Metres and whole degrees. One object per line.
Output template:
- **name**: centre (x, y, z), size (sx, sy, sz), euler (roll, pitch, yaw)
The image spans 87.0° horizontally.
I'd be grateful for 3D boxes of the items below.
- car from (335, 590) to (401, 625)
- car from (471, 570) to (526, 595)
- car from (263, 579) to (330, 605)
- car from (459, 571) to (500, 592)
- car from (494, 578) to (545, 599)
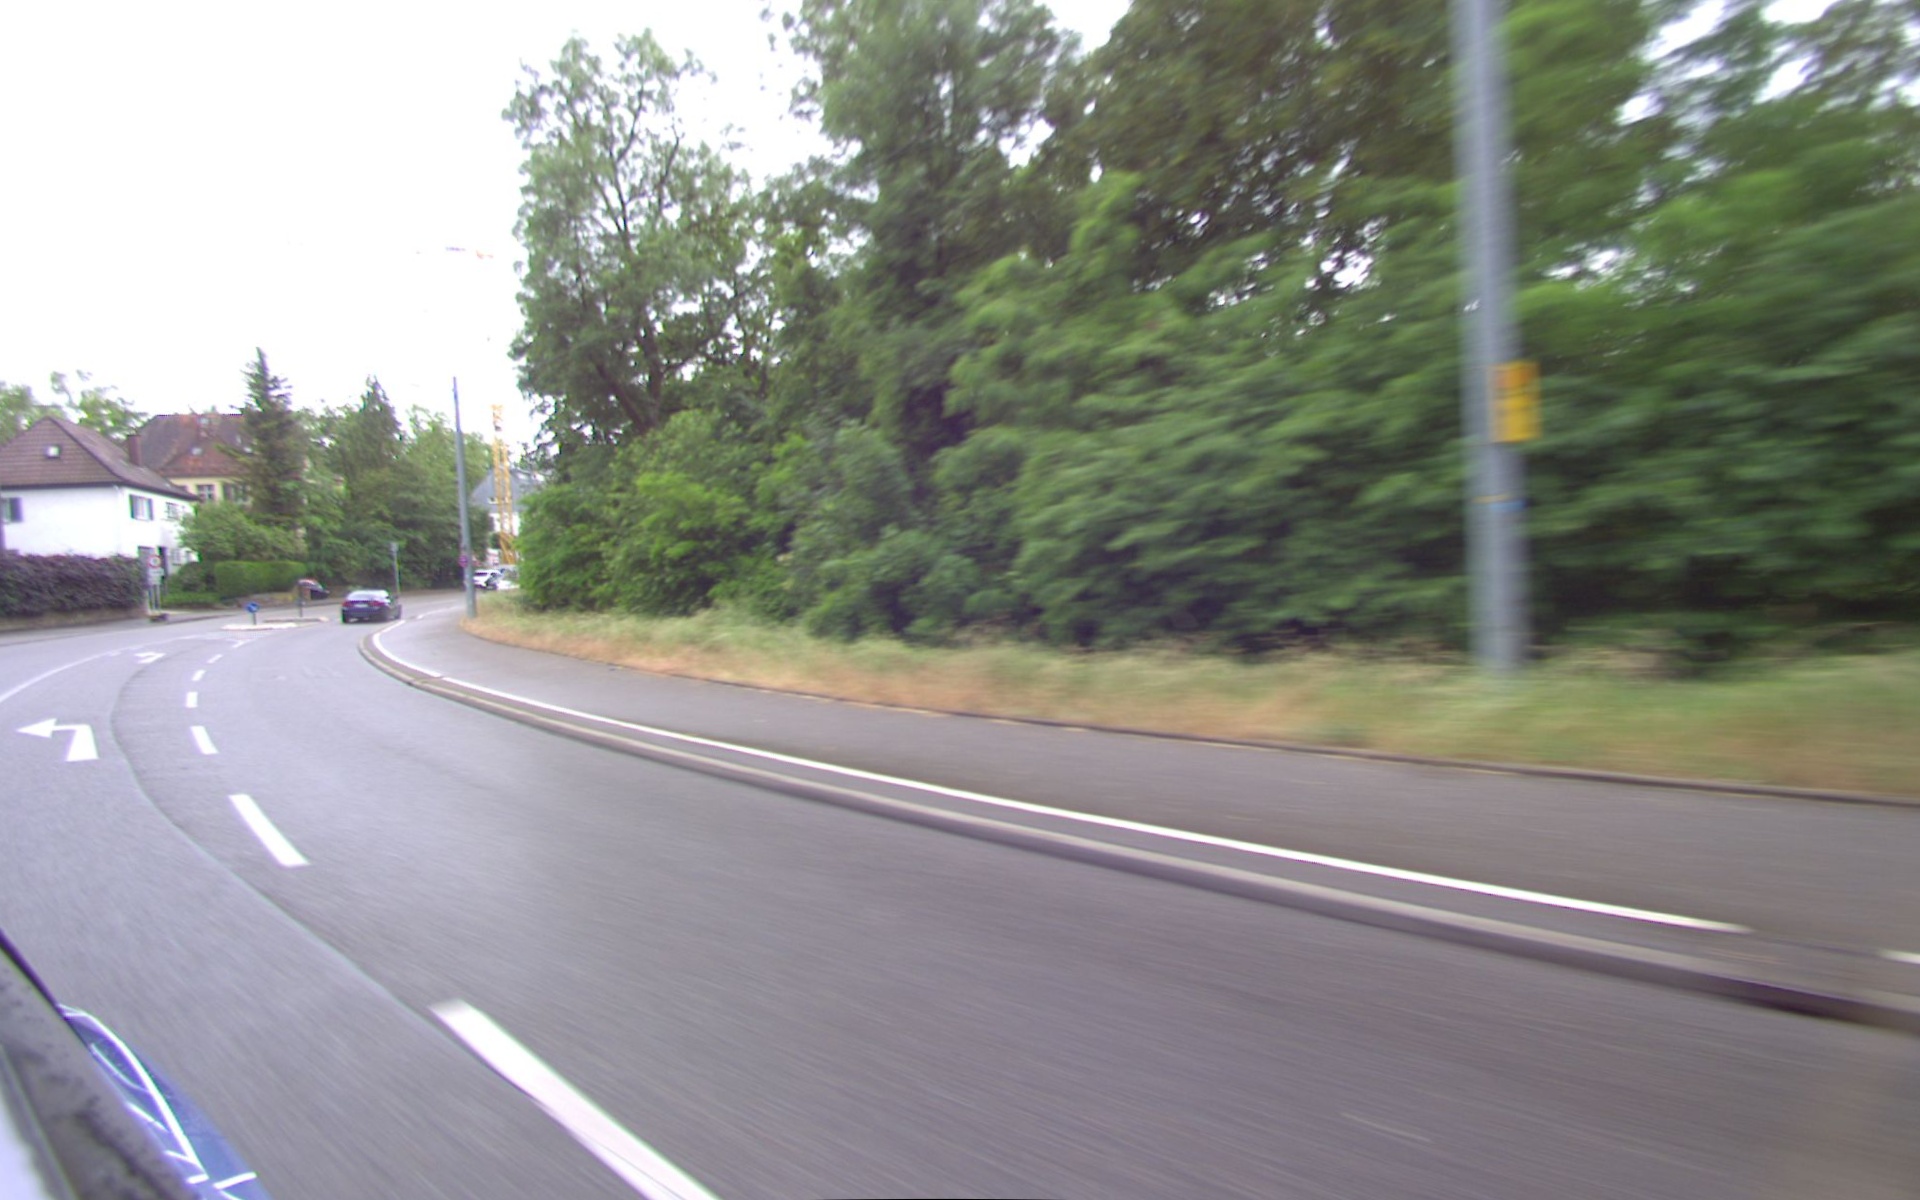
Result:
- **car**: centre (-27.649, 0.322, 47.387), size (1.820, 1.512, 4.646), euler (0, 1, -19)
- **car**: centre (-36.758, -1.455, 80.724), size (1.978, 1.729, 3.988), euler (-2, 3, 11)
- **car**: centre (-45.293, -0.565, 69.170), size (3.432, 1.422, 1.431), euler (-5, 3, -10)
- **car**: centre (-40.078, -1.524, 84.515), size (1.805, 1.607, 4.005), euler (0, 3, -4)
- **car**: centre (-33.130, -0.881, 76.207), size (1.558, 1.488, 3.647), euler (0, 2, 17)
